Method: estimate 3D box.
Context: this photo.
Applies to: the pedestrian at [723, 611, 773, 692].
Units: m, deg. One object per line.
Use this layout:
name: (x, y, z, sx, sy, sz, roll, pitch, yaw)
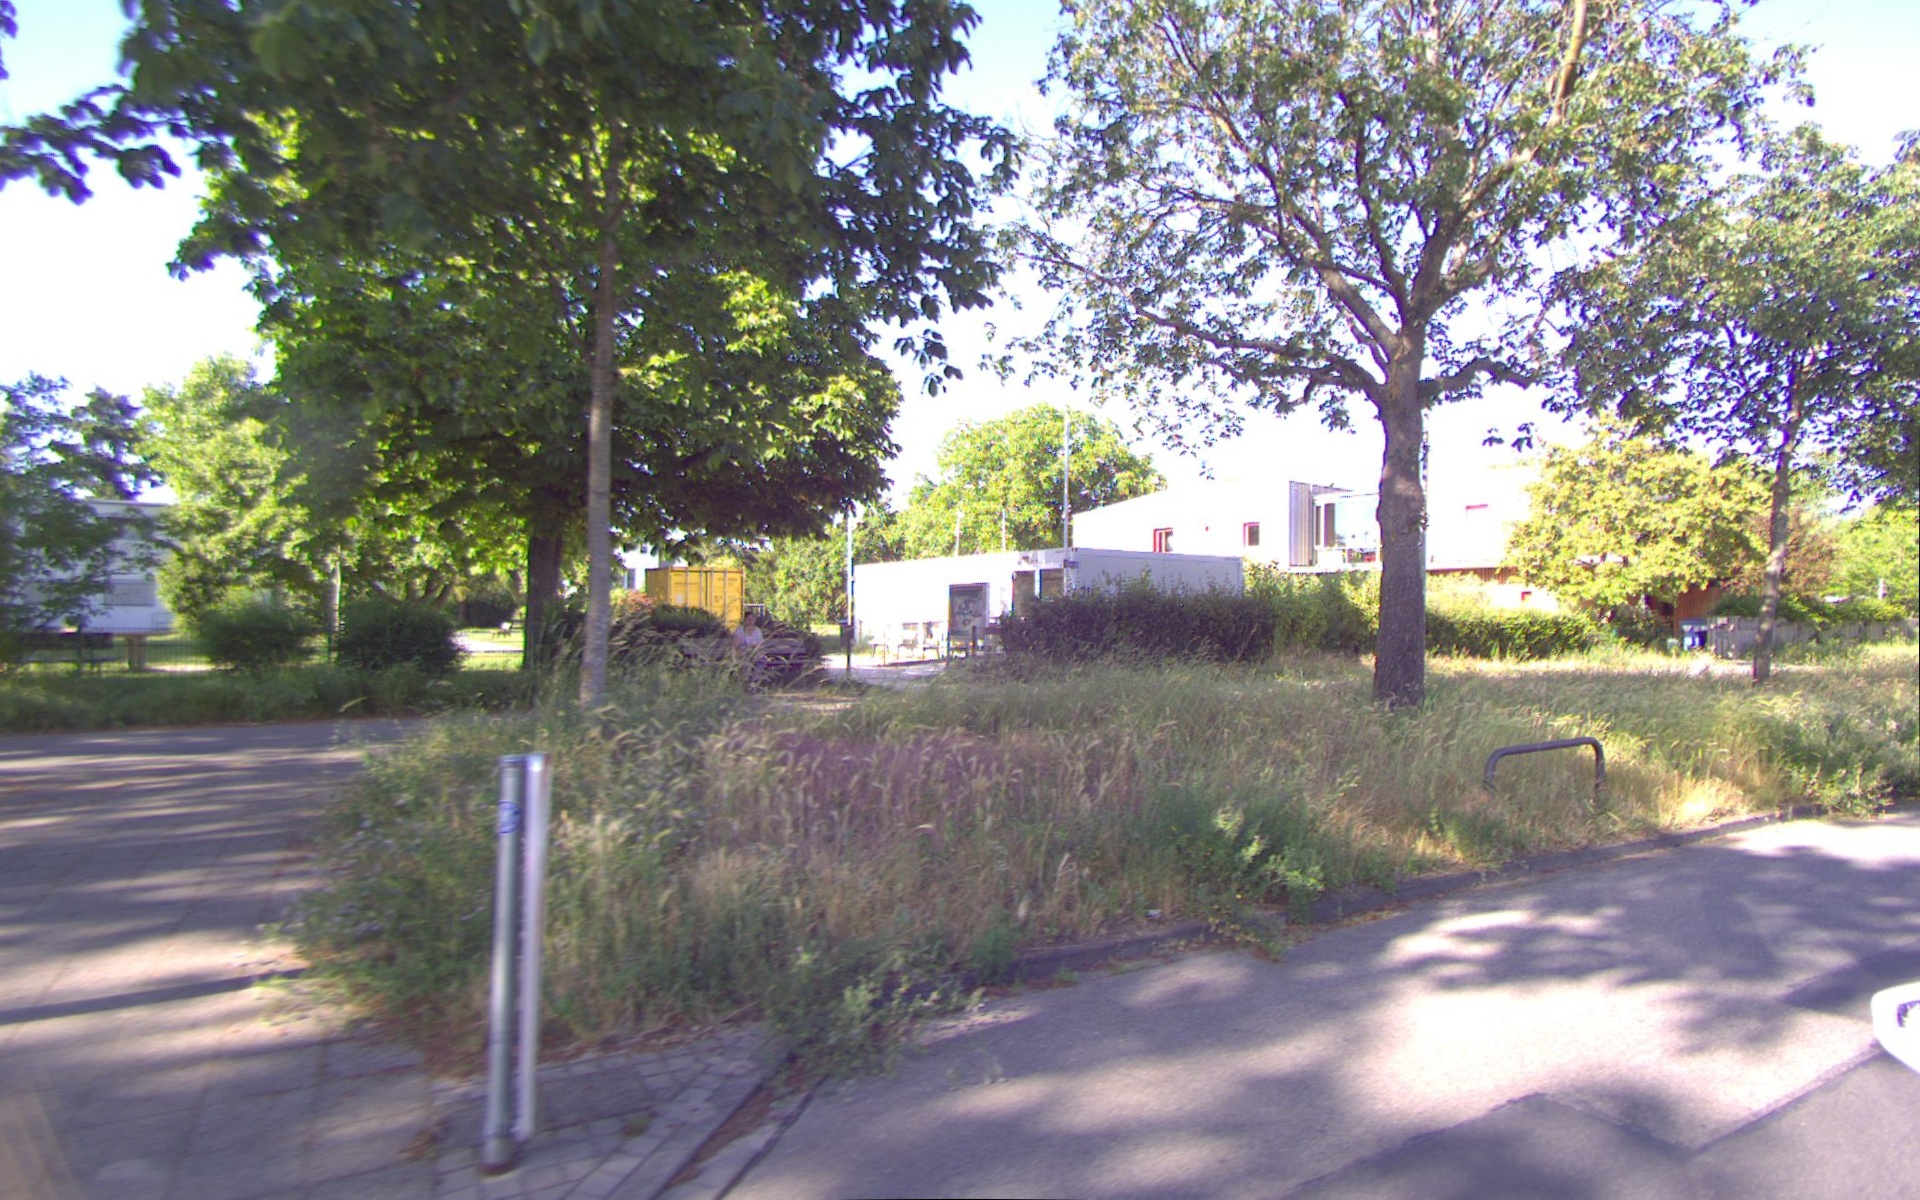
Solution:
pedestrian: (-3.229, 0.775, 15.301, 0.516, 1.173, 0.634, 2, 2, -31)
